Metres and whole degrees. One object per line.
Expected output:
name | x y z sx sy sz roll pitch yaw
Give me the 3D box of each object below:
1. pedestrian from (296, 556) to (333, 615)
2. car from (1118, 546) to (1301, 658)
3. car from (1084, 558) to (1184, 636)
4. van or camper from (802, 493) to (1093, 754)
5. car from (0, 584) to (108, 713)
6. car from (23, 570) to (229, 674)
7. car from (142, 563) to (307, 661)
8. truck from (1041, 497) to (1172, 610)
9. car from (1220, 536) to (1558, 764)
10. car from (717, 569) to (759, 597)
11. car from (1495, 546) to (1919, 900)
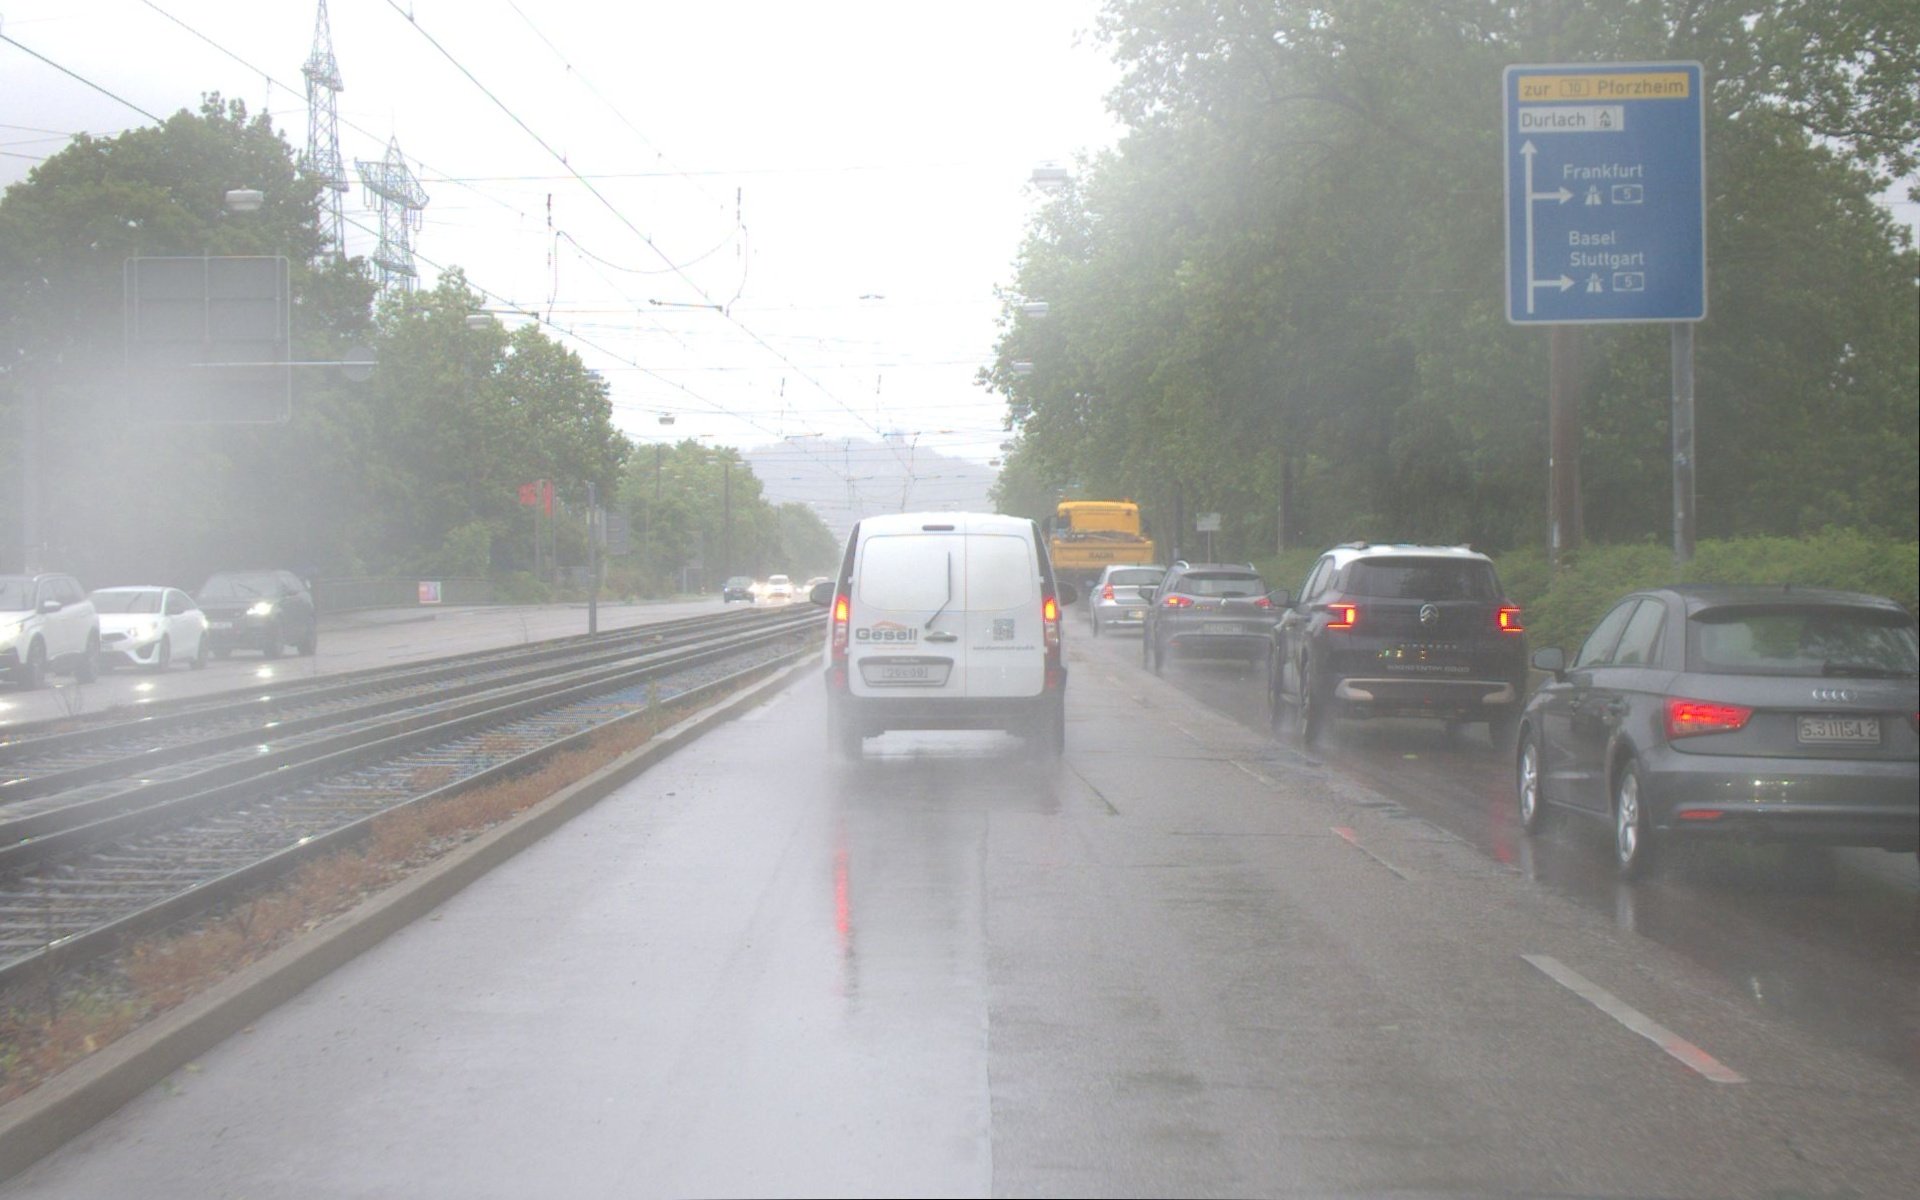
pedestrian | -19.478 -0.455 103.698 0.851 1.753 1.121 -1 1 1
car | 3.369 0.003 47.108 1.818 1.409 3.779 1 1 -6
car | 3.383 -0.079 67.309 1.818 1.409 3.778 1 1 1
van or camper | -0.157 0.107 26.029 1.993 1.778 4.001 1 2 -2
car | -13.687 0.641 48.769 1.771 1.677 4.689 2 1 3
car | -13.665 0.327 56.623 1.994 1.578 4.766 -1 1 3
car | -13.878 0.194 65.145 1.993 1.715 4.882 -1 1 1
truck | 3.690 -1.199 88.107 3.113 2.764 6.329 0 1 0
car | 3.503 0.349 28.979 1.899 1.711 4.726 1 1 -4
car | -13.084 -0.991 202.885 1.993 1.612 4.253 -1 1 2
car | 4.027 0.523 17.276 1.967 1.523 3.991 1 1 -1
